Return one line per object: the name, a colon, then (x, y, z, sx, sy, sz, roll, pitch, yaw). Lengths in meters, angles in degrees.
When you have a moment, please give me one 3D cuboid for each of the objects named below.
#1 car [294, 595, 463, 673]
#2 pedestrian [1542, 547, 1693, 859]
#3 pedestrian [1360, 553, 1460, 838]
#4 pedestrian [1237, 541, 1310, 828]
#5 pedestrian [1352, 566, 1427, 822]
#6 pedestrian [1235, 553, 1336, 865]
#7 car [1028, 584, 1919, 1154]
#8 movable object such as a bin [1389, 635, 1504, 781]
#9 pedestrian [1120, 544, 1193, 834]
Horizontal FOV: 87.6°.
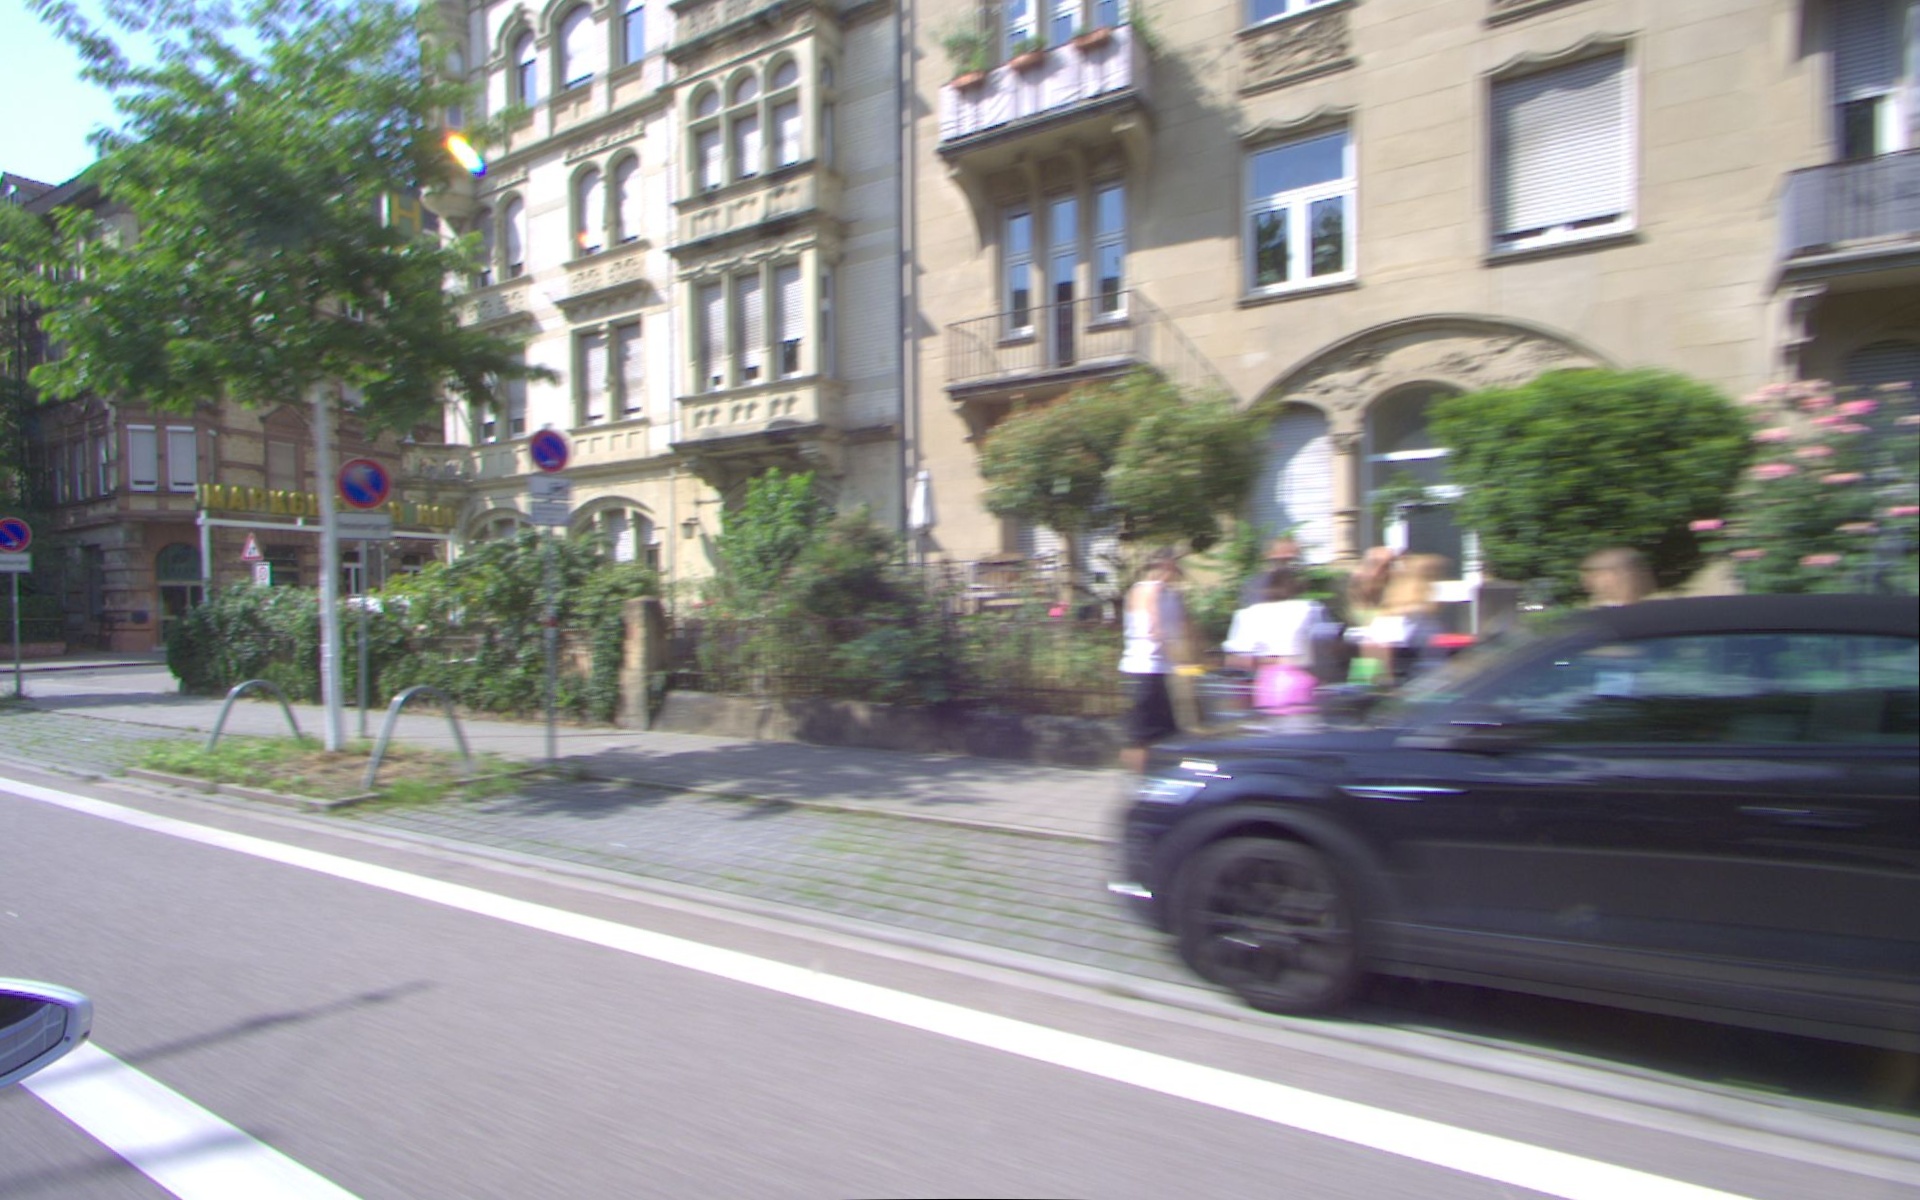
car: (-17.155, 1.007, 29.567, 4.409, 2.132, 1.995, -2, -1, 22)
pedestrian: (3.749, 0.560, 5.752, 0.564, 1.699, 0.529, -1, 3, 14)
pedestrian: (2.841, 0.576, 6.345, 0.487, 1.730, 0.502, -1, 3, 14)
pedestrian: (2.111, 0.533, 6.720, 0.314, 1.829, 0.668, 0, 3, 30)
pedestrian: (3.016, 0.633, 7.025, 0.425, 1.730, 0.383, 0, 3, 32)
pedestrian: (1.887, 0.603, 5.808, 0.316, 1.730, 0.456, -4, 4, -44)
car: (2.641, 0.737, 3.757, 4.420, 1.547, 1.796, 0, 2, 29)
movable object such as a bin: (3.939, 0.841, 8.098, 0.764, 1.072, 0.606, 0, 3, 33)
pedestrian: (1.295, 0.559, 6.563, 0.314, 1.829, 0.458, 0, 3, 30)
